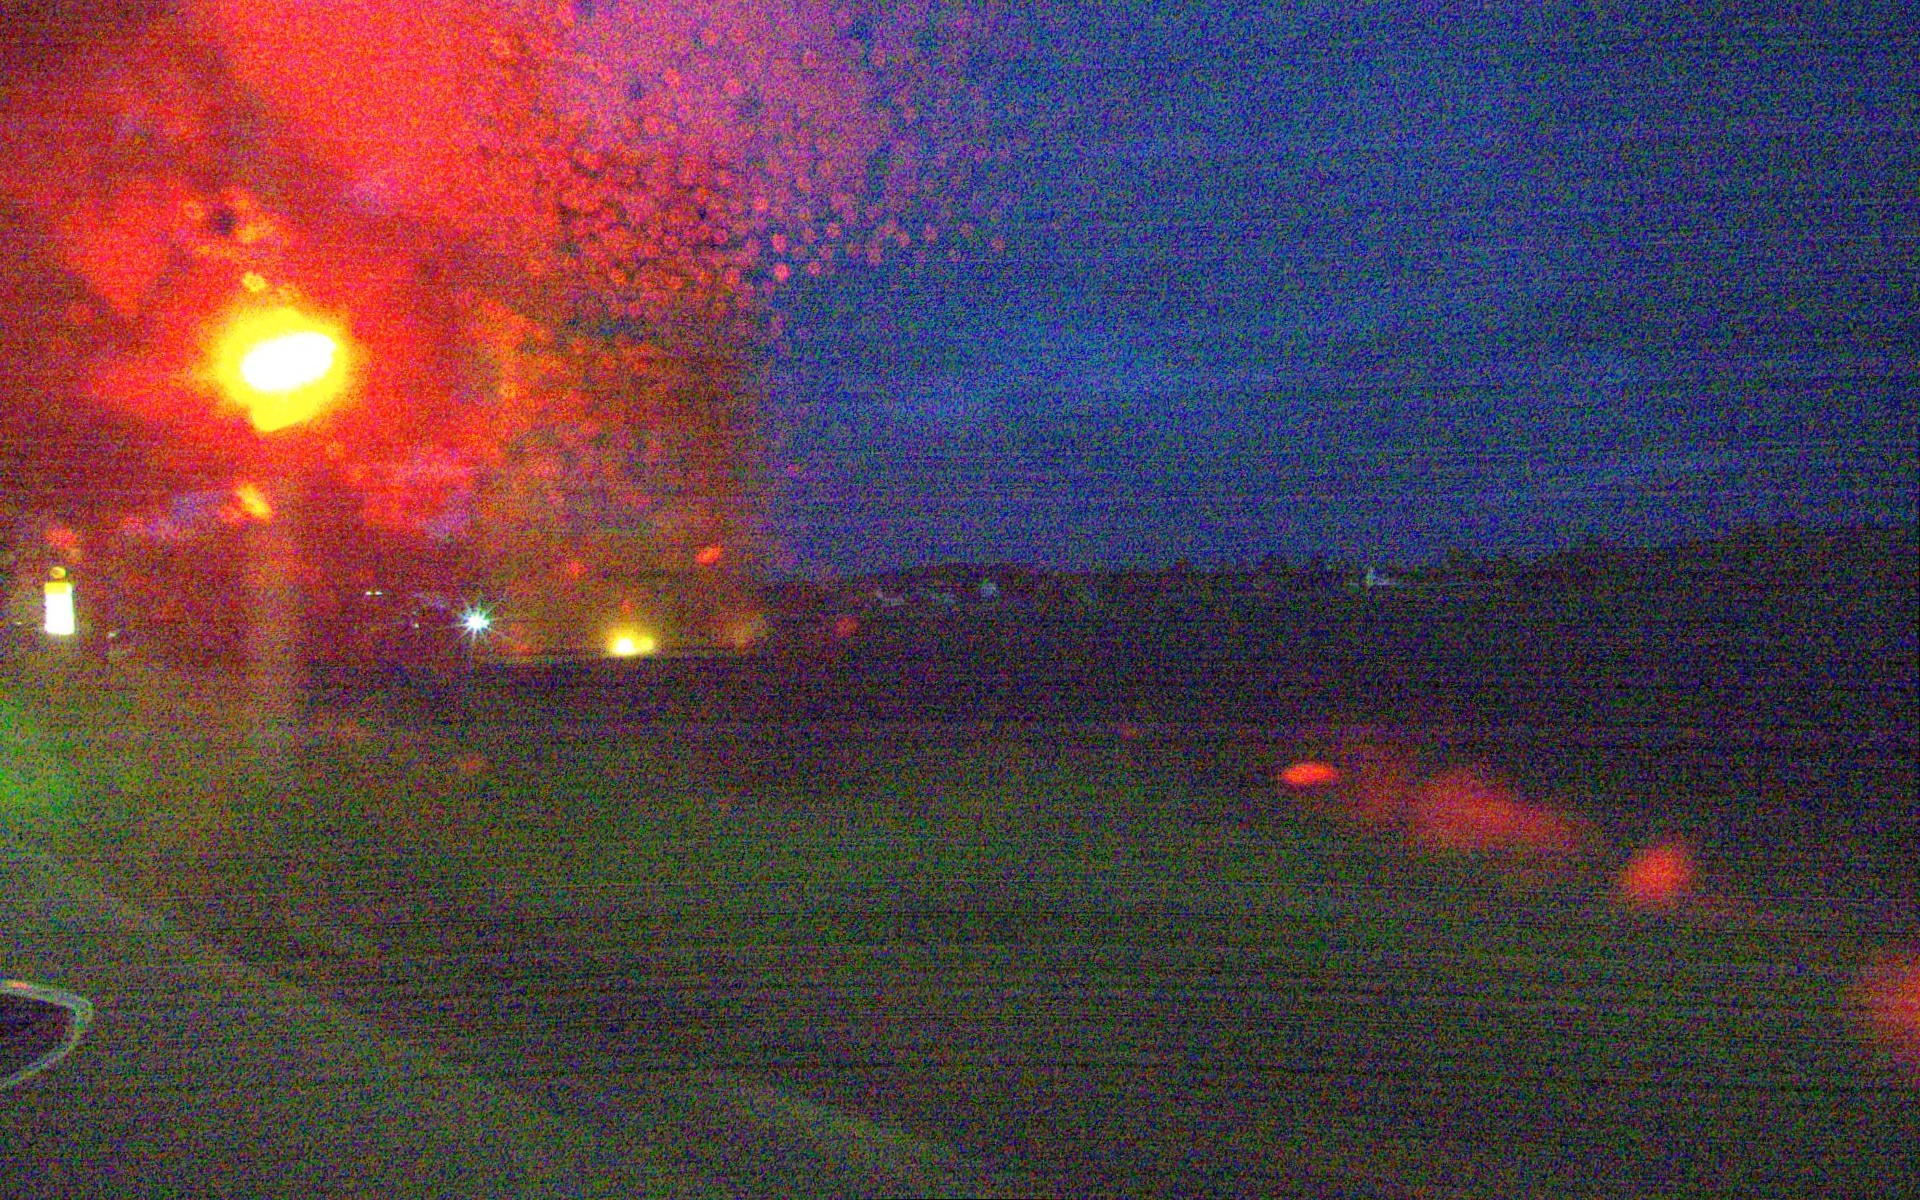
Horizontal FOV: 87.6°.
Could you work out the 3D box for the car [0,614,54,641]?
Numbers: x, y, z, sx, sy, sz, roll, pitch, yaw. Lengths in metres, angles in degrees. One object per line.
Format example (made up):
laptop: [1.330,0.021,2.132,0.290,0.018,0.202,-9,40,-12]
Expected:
car: [-52.138,1.496,54.837,1.519,1.439,3.699,0,0,4]

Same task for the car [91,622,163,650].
car: [-53.510,2.260,64.421,1.729,1.629,4.446,-1,0,-13]

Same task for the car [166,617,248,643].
car: [-43.971,1.736,58.616,1.731,1.421,4.585,0,0,-6]
